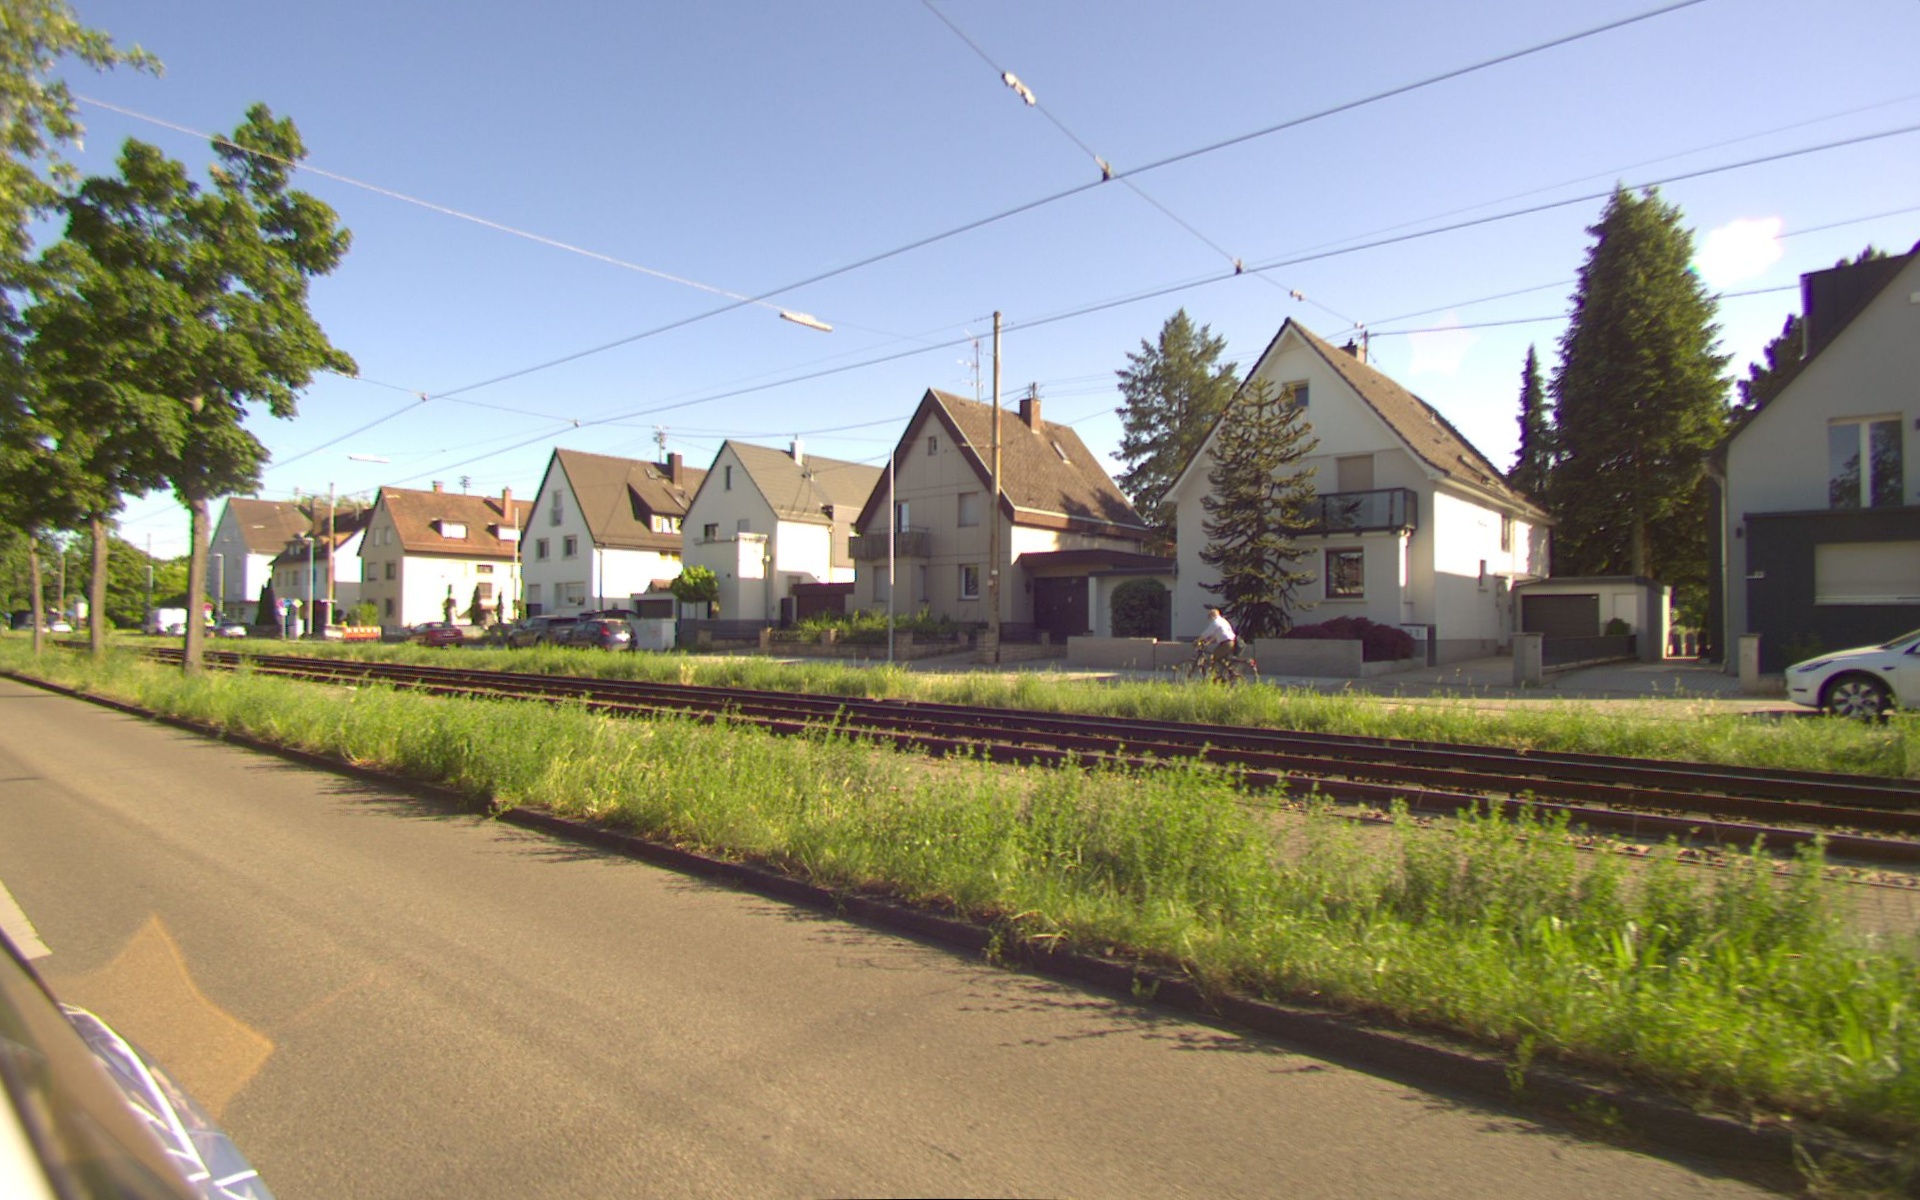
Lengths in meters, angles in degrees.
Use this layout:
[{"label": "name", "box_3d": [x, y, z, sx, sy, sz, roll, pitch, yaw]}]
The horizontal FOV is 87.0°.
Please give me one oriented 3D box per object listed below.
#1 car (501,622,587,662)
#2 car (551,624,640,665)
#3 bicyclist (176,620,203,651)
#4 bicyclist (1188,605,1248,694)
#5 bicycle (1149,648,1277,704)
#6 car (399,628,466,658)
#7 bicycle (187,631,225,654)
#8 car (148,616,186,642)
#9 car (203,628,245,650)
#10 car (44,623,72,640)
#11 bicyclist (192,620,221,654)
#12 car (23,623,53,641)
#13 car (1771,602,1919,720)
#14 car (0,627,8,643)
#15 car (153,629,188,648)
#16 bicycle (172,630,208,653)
[{"label": "car", "box_3d": [-17.623, 1.734, 42.824, 4.010, 1.609, 1.779, -1, -1, 41]}, {"label": "car", "box_3d": [-14.454, 1.743, 40.088, 3.754, 1.501, 1.716, -1, -1, 41]}, {"label": "bicyclist", "box_3d": [-55.849, 2.574, 73.391, 1.308, 2.176, 1.336, -1, -1, 41]}, {"label": "bicyclist", "box_3d": [5.021, 0.942, 19.691, 0.836, 1.687, 0.843, -1, -1, 41]}, {"label": "bicycle", "box_3d": [4.929, 1.457, 19.832, 2.308, 0.958, 0.843, -1, -1, 41]}, {"label": "car", "box_3d": [-26.667, 2.147, 51.134, 3.822, 1.392, 1.733, -1, -1, 41]}, {"label": "bicycle", "box_3d": [-52.379, 2.951, 70.301, 3.998, 1.506, 1.336, -1, -1, 41]}, {"label": "car", "box_3d": [-69.329, 2.498, 88.459, 4.001, 2.239, 2.104, -1, -1, 44]}, {"label": "car", "box_3d": [-55.182, 2.922, 75.865, 3.998, 1.517, 1.768, -1, -1, 41]}, {"label": "car", "box_3d": [-113.500, 3.977, 127.286, 3.997, 2.050, 2.106, -1, -1, 40]}, {"label": "bicyclist", "box_3d": [-52.317, 2.552, 70.247, 1.622, 2.250, 1.293, -1, -1, 41]}, {"label": "car", "box_3d": [-106.634, 3.682, 117.002, 3.997, 2.050, 2.106, -1, -1, 40]}, {"label": "car", "box_3d": [14.970, 0.867, 14.742, 4.837, 1.691, 1.973, -1, -1, 41]}, {"label": "car", "box_3d": [-124.929, 4.499, 130.980, 3.997, 2.050, 2.106, -1, -1, 40]}, {"label": "car", "box_3d": [-65.989, 3.191, 84.603, 4.001, 1.517, 1.767, -1, -1, 44]}, {"label": "bicycle", "box_3d": [-56.006, 2.975, 73.559, 3.998, 1.589, 1.336, -1, -1, 41]}]
